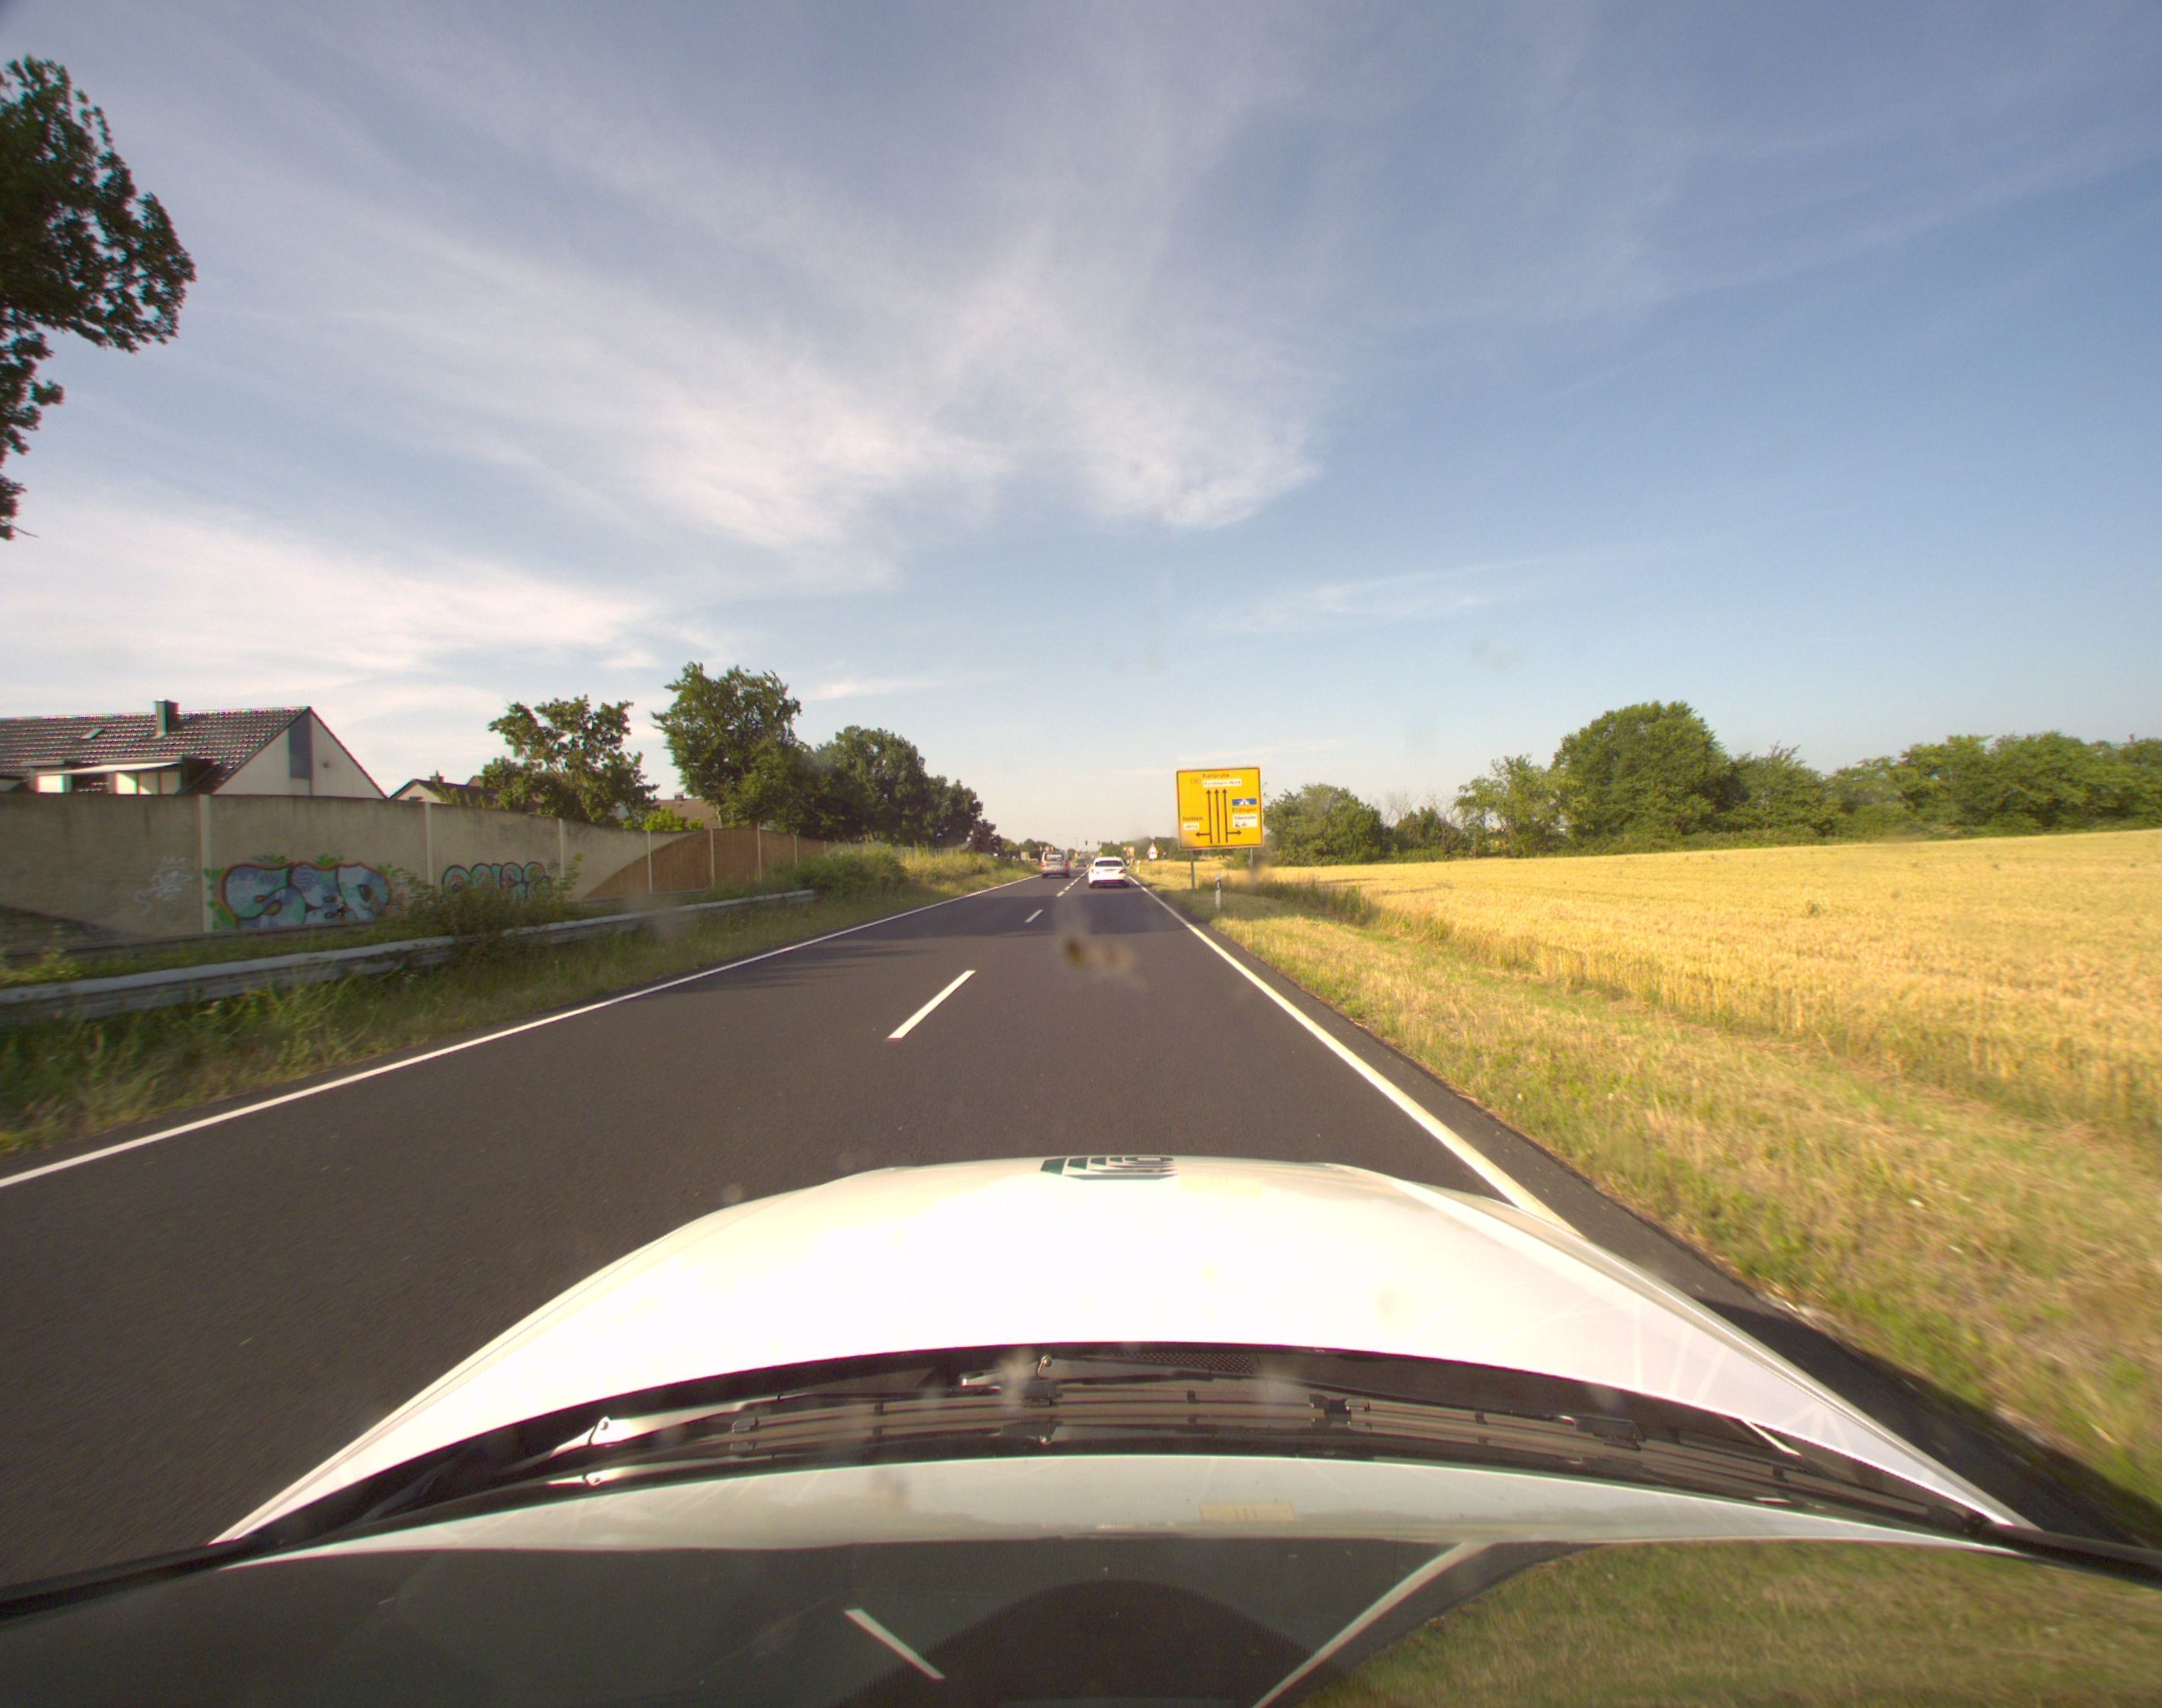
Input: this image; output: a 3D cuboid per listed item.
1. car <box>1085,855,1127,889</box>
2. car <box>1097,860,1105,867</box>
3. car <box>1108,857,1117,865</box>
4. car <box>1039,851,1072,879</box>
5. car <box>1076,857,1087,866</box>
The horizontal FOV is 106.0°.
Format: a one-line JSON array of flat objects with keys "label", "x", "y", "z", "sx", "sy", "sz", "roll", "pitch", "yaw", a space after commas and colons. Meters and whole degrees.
[{"label": "car", "x": 1.168, "y": 0.818, "z": 38.842, "sx": 1.888, "sy": 1.509, "sz": 4.000, "roll": -1, "pitch": 0, "yaw": 1}, {"label": "car", "x": 5.195, "y": 2.329, "z": 207.403, "sx": 1.831, "sy": 1.684, "sz": 4.004, "roll": -1, "pitch": 0, "yaw": 3}, {"label": "car", "x": 6.693, "y": 1.491, "z": 171.715, "sx": 1.747, "sy": 1.517, "sz": 4.001, "roll": -2, "pitch": 0, "yaw": 2}, {"label": "car", "x": -1.774, "y": 0.755, "z": 58.287, "sx": 2.017, "sy": 1.892, "sz": 4.960, "roll": -1, "pitch": 0, "yaw": 2}, {"label": "car", "x": 0.069, "y": 1.203, "z": 139.392, "sx": 1.711, "sy": 1.492, "sz": 3.585, "roll": -1, "pitch": 0, "yaw": 1}]
